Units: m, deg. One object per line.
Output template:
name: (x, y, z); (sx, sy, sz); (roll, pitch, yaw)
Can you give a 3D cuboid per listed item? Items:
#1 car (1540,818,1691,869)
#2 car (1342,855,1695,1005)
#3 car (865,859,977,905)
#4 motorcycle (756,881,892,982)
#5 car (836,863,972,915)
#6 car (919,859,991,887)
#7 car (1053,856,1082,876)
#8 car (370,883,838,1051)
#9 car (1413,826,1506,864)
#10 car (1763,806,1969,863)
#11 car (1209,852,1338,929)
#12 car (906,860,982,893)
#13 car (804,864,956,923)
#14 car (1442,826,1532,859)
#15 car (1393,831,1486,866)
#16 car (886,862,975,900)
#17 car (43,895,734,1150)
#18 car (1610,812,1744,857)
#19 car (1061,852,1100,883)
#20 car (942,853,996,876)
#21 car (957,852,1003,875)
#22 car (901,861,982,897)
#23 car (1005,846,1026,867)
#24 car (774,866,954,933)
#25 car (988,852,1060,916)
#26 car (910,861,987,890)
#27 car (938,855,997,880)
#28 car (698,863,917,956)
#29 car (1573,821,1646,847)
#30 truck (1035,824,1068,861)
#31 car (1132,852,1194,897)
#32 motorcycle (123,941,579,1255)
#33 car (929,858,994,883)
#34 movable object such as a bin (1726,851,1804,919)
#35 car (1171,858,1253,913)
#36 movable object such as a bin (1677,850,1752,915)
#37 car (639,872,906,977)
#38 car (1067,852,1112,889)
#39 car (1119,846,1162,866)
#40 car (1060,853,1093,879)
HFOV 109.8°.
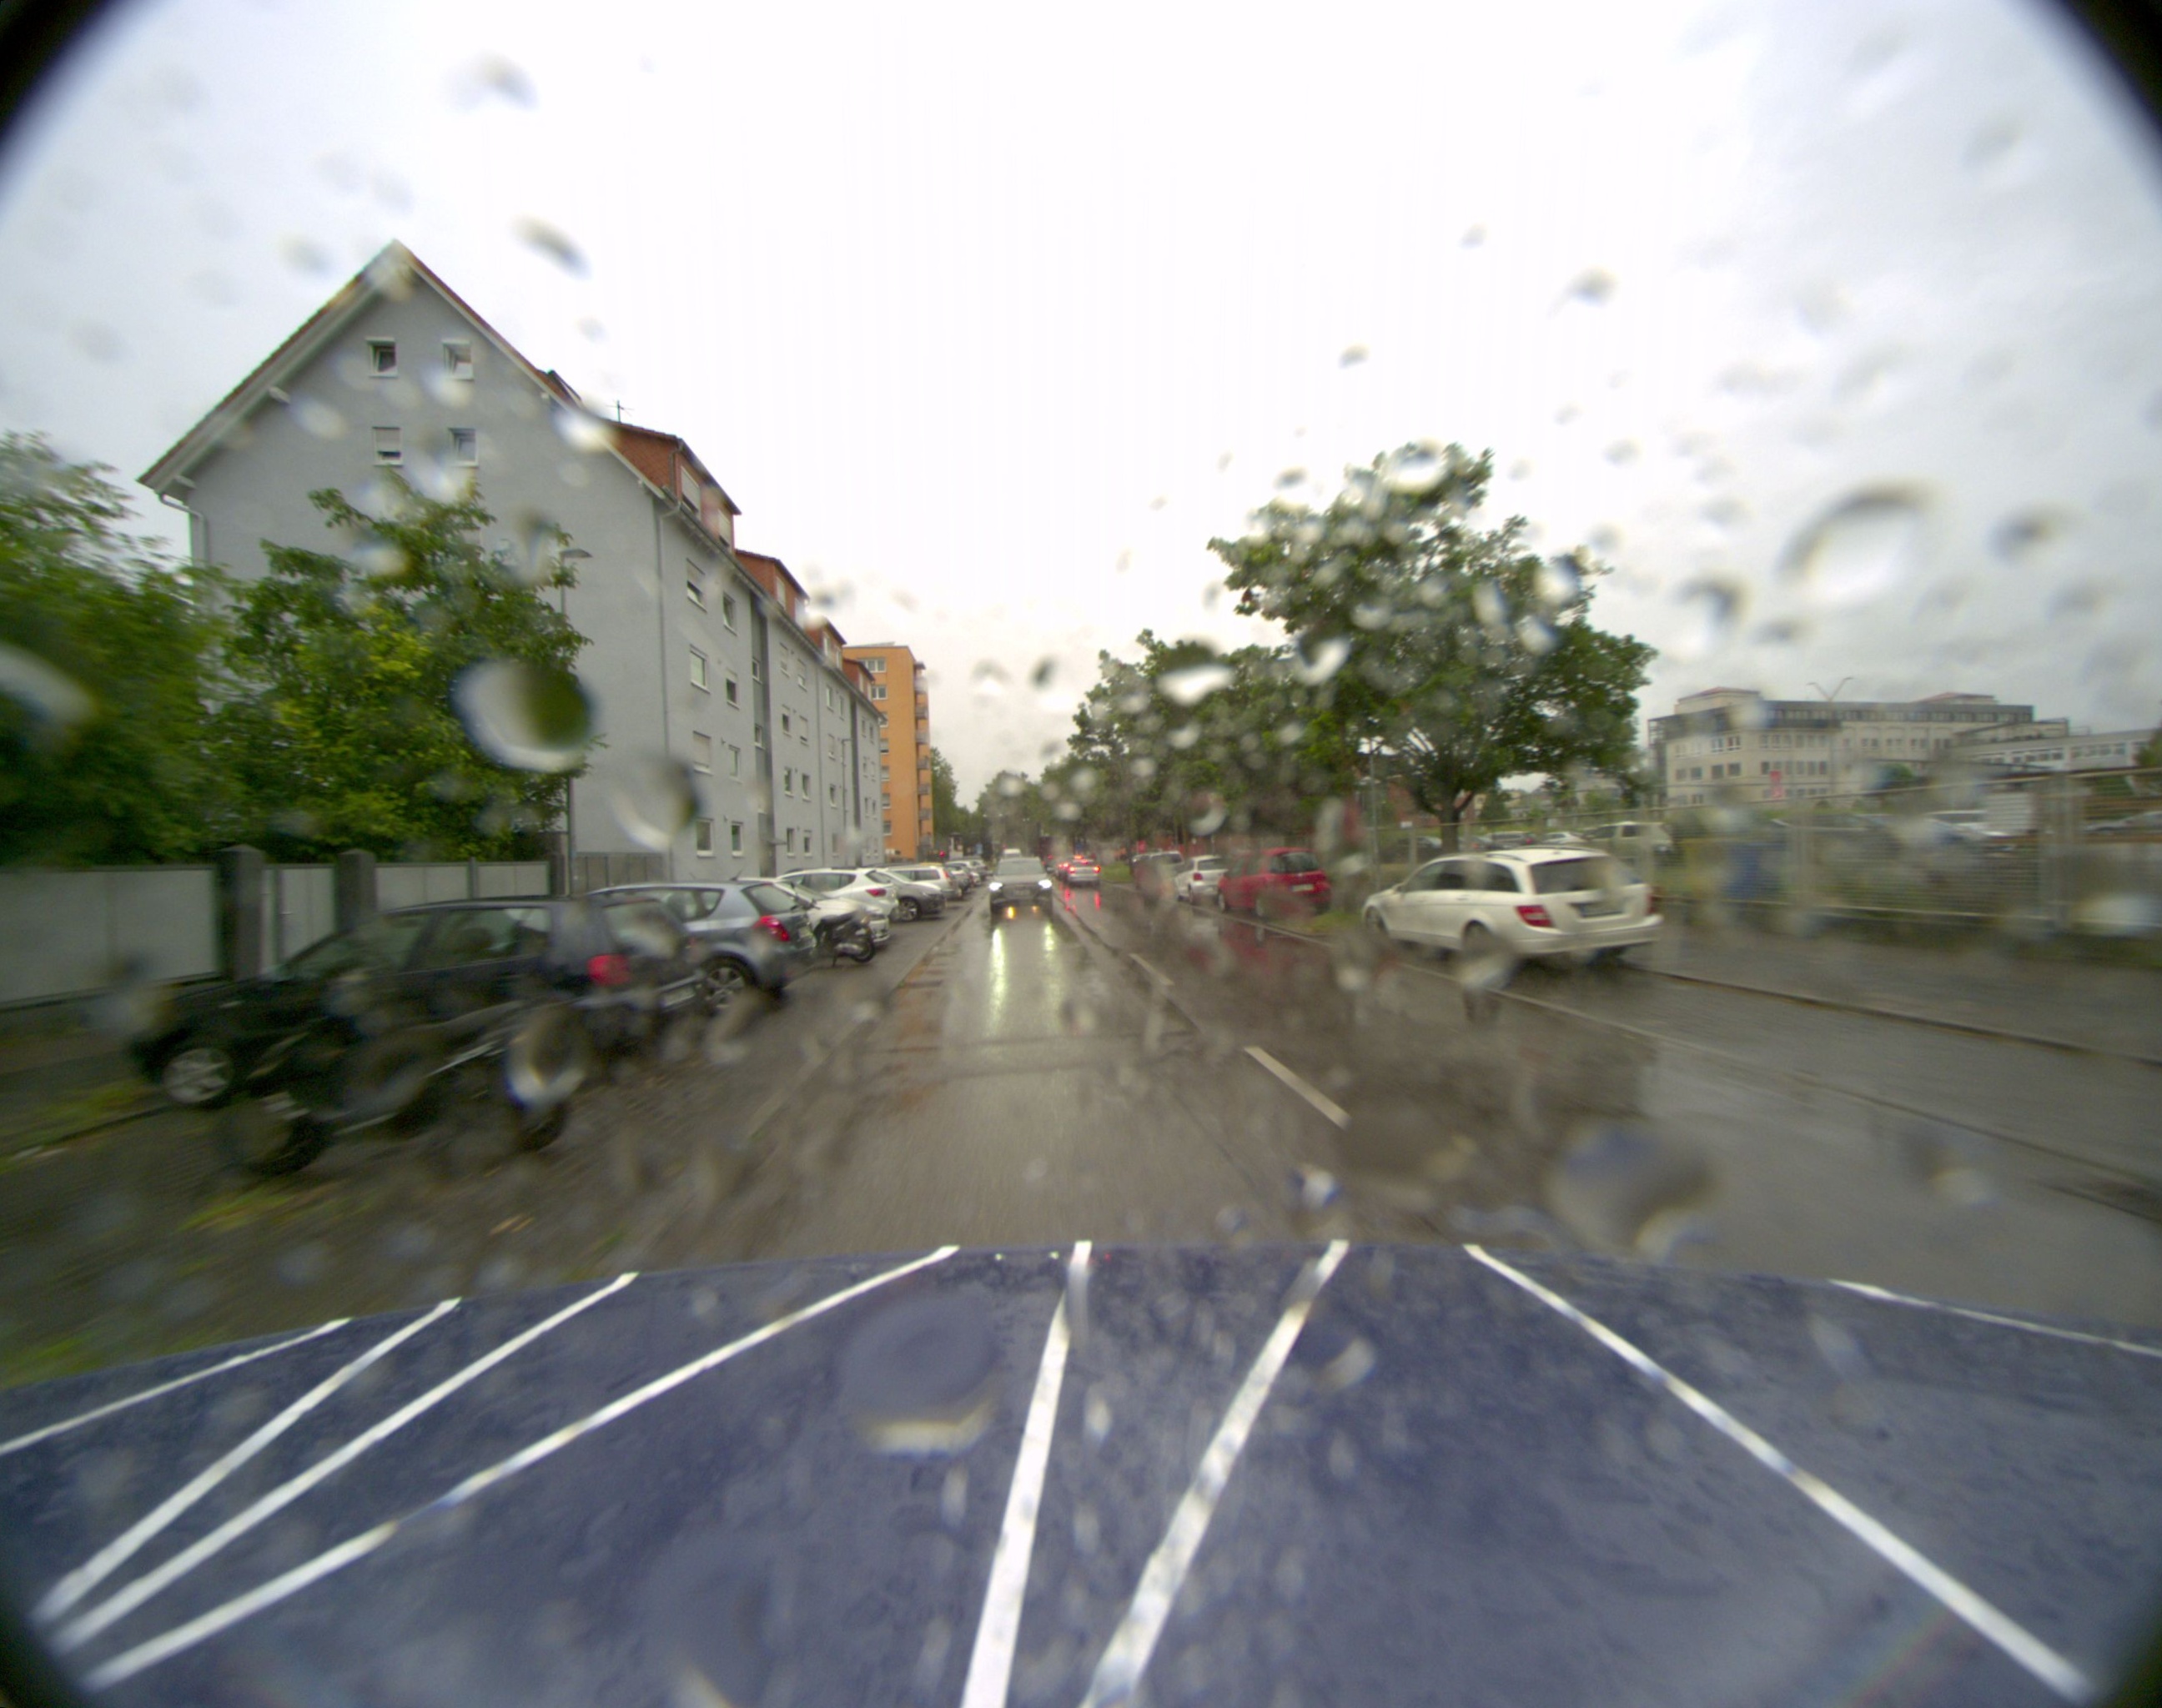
car: (19.399, -0.346, 27.712); (2.070, 1.660, 3.990); (-4, 1, -36)
car: (5.490, 0.812, 10.422); (1.780, 1.451, 4.677); (-3, 1, -5)
car: (-6.416, 1.095, 30.763); (4.172, 1.561, 1.649); (-3, 1, -3)
motorcycle: (-3.893, 1.162, 11.613); (1.767, 1.365, 0.734); (-3, 1, -3)
car: (-5.893, 1.149, 25.689); (4.172, 1.468, 1.649); (-3, 1, -3)
car: (-7.765, 1.152, 47.183); (4.172, 1.445, 1.649); (-3, 1, -3)
car: (-1.134, 0.985, 62.430); (2.071, 1.436, 4.172); (-3, 1, -4)
car: (-5.149, 1.177, 8.745); (4.065, 1.446, 1.934); (-3, -1, -4)
car: (20.471, -0.466, 41.192); (2.003, 1.871, 3.990); (-4, 1, -37)
car: (23.288, -0.549, 22.702); (1.762, 1.486, 3.990); (-3, 1, -32)
car: (4.561, 0.787, 18.570); (1.629, 1.589, 3.795); (-3, 1, -9)
car: (-7.034, 1.150, 39.211); (3.619, 1.479, 1.541); (-3, 1, -3)
car: (-6.094, 1.179, 23.480); (4.172, 1.468, 1.919); (-3, 1, -3)
car: (22.578, -0.606, 42.388); (1.774, 1.660, 3.990); (-4, 1, -36)
car: (18.809, -0.260, 39.984); (1.774, 1.660, 3.990); (-4, 1, -36)
car: (-6.668, 1.181, 33.887); (3.619, 1.479, 1.541); (-3, 1, -3)
car: (-5.117, 1.186, 6.126); (3.762, 1.446, 1.800); (-3, -1, -4)
car: (24.936, -0.800, 31.914); (2.070, 1.660, 3.990); (-4, 1, -36)
car: (-0.064, 0.815, 47.483); (2.071, 1.732, 4.172); (-3, 1, -4)
car: (-9.171, 0.844, 62.311); (4.172, 1.596, 1.649); (-3, 1, -3)
car: (-9.496, 0.870, 71.450); (3.998, 2.002, 1.999); (-3, 1, -3)
car: (-6.657, 1.162, 36.573); (3.619, 1.479, 1.541); (-3, 1, -3)
car: (-7.510, 0.216, 87.410); (2.195, 2.242, 4.882); (-3, 1, -4)
car: (-5.911, 1.219, 21.192); (4.390, 1.468, 2.049); (-3, 1, -3)
car: (-1.759, 0.845, 23.676); (1.962, 1.702, 4.172); (-3, 1, -4)
car: (-7.680, 1.227, 44.329); (4.172, 1.445, 1.649); (-3, 1, -3)
car: (-8.454, 0.979, 57.049); (4.172, 1.596, 1.649); (-3, 1, -3)
car: (-5.602, 1.108, 15.952); (3.925, 1.605, 1.691); (-3, 1, -3)
car: (38.871, -1.438, 55.951); (1.774, 1.660, 3.990); (-4, 1, -36)
truck: (-4.019, -1.500, 99.606); (3.834, 4.360, 10.780); (-3, 1, -4)
car: (3.460, 0.819, 32.693); (1.882, 1.672, 4.035); (-3, 1, -4)
motorcycle: (-3.715, 1.197, 3.998); (1.594, 1.316, 0.694); (-3, 0, -5)
car: (-8.190, 1.098, 52.198); (4.172, 1.445, 1.649); (-3, 1, -3)
movable object such as a bin: (10.036, 0.443, 11.169); (0.539, 0.943, 0.637); (-3, 1, -4)
car: (4.021, 0.915, 23.910); (1.695, 1.445, 3.717); (-3, 1, -3)
movable object such as a bin: (10.006, 0.434, 12.026); (0.547, 0.980, 0.713); (-3, 1, -4)
car: (-5.306, 1.186, 13.515); (3.925, 1.472, 1.856); (-3, 1, -3)
car: (0.386, 0.828, 40.463); (2.071, 1.732, 4.173); (-3, 1, -3)
car: (6.055, 0.189, 76.816); (4.007, 1.752, 1.995); (-4, 1, -40)
car: (-0.374, 0.861, 54.800); (2.071, 1.663, 4.172); (-3, 1, -4)
